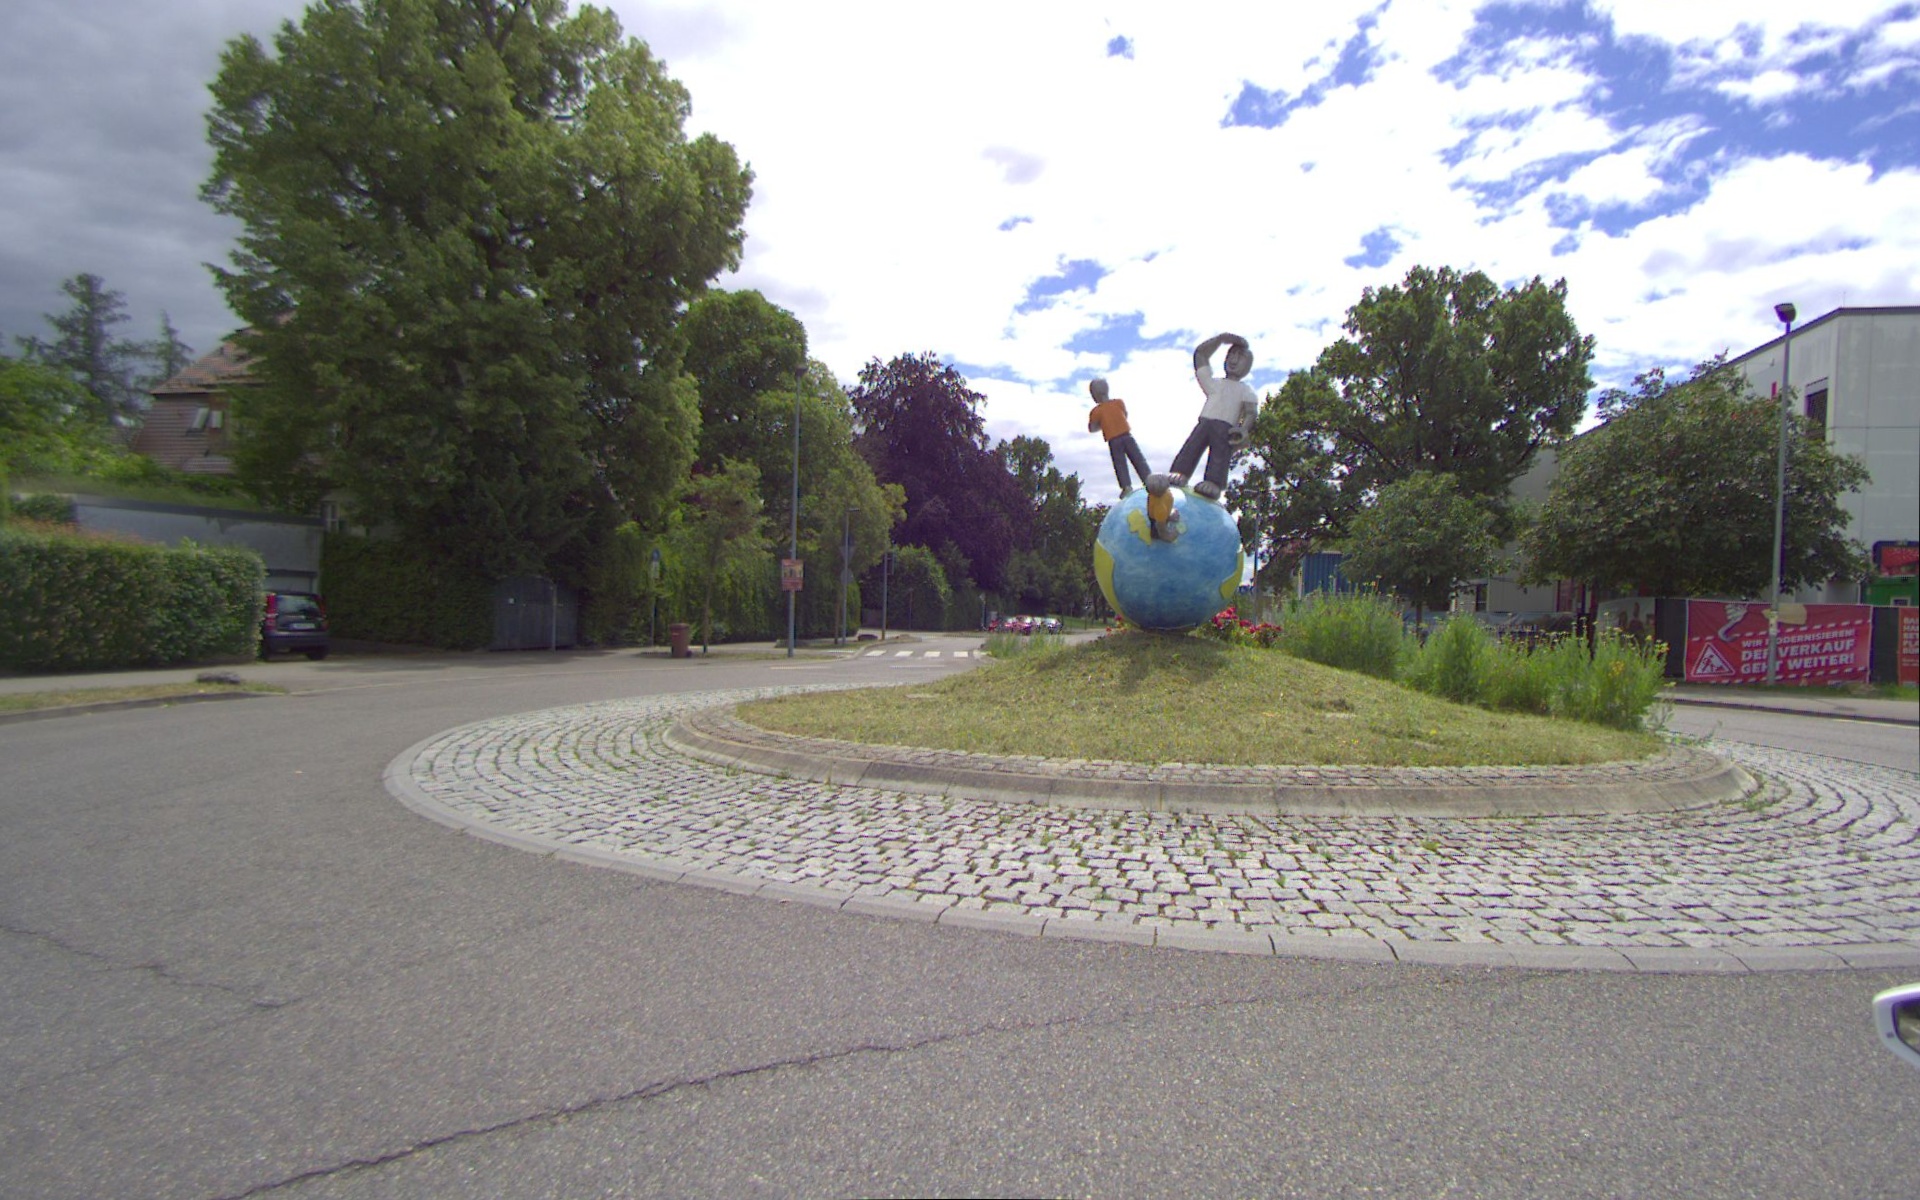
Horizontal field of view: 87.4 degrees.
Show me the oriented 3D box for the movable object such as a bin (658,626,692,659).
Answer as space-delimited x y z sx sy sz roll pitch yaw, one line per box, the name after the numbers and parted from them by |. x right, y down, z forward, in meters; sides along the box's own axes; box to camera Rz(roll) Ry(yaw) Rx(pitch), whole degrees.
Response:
-7.768 1.159 27.408 0.620 0.874 0.639 0 -1 26 | movable object such as a bin

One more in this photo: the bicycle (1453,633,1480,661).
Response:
20.754 1.912 41.208 0.619 1.063 1.969 4 1 17 | bicycle

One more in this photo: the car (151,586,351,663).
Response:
-15.484 0.493 21.936 3.926 1.506 1.997 1 0 28 | car

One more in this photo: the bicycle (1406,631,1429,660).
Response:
18.982 1.874 41.725 0.520 1.109 2.072 4 1 16 | bicycle

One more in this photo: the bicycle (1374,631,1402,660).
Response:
17.833 1.868 41.844 0.619 1.063 2.072 4 1 12 | bicycle

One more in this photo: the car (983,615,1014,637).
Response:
2.861 1.860 73.857 2.028 1.405 4.049 2 1 6 | car
